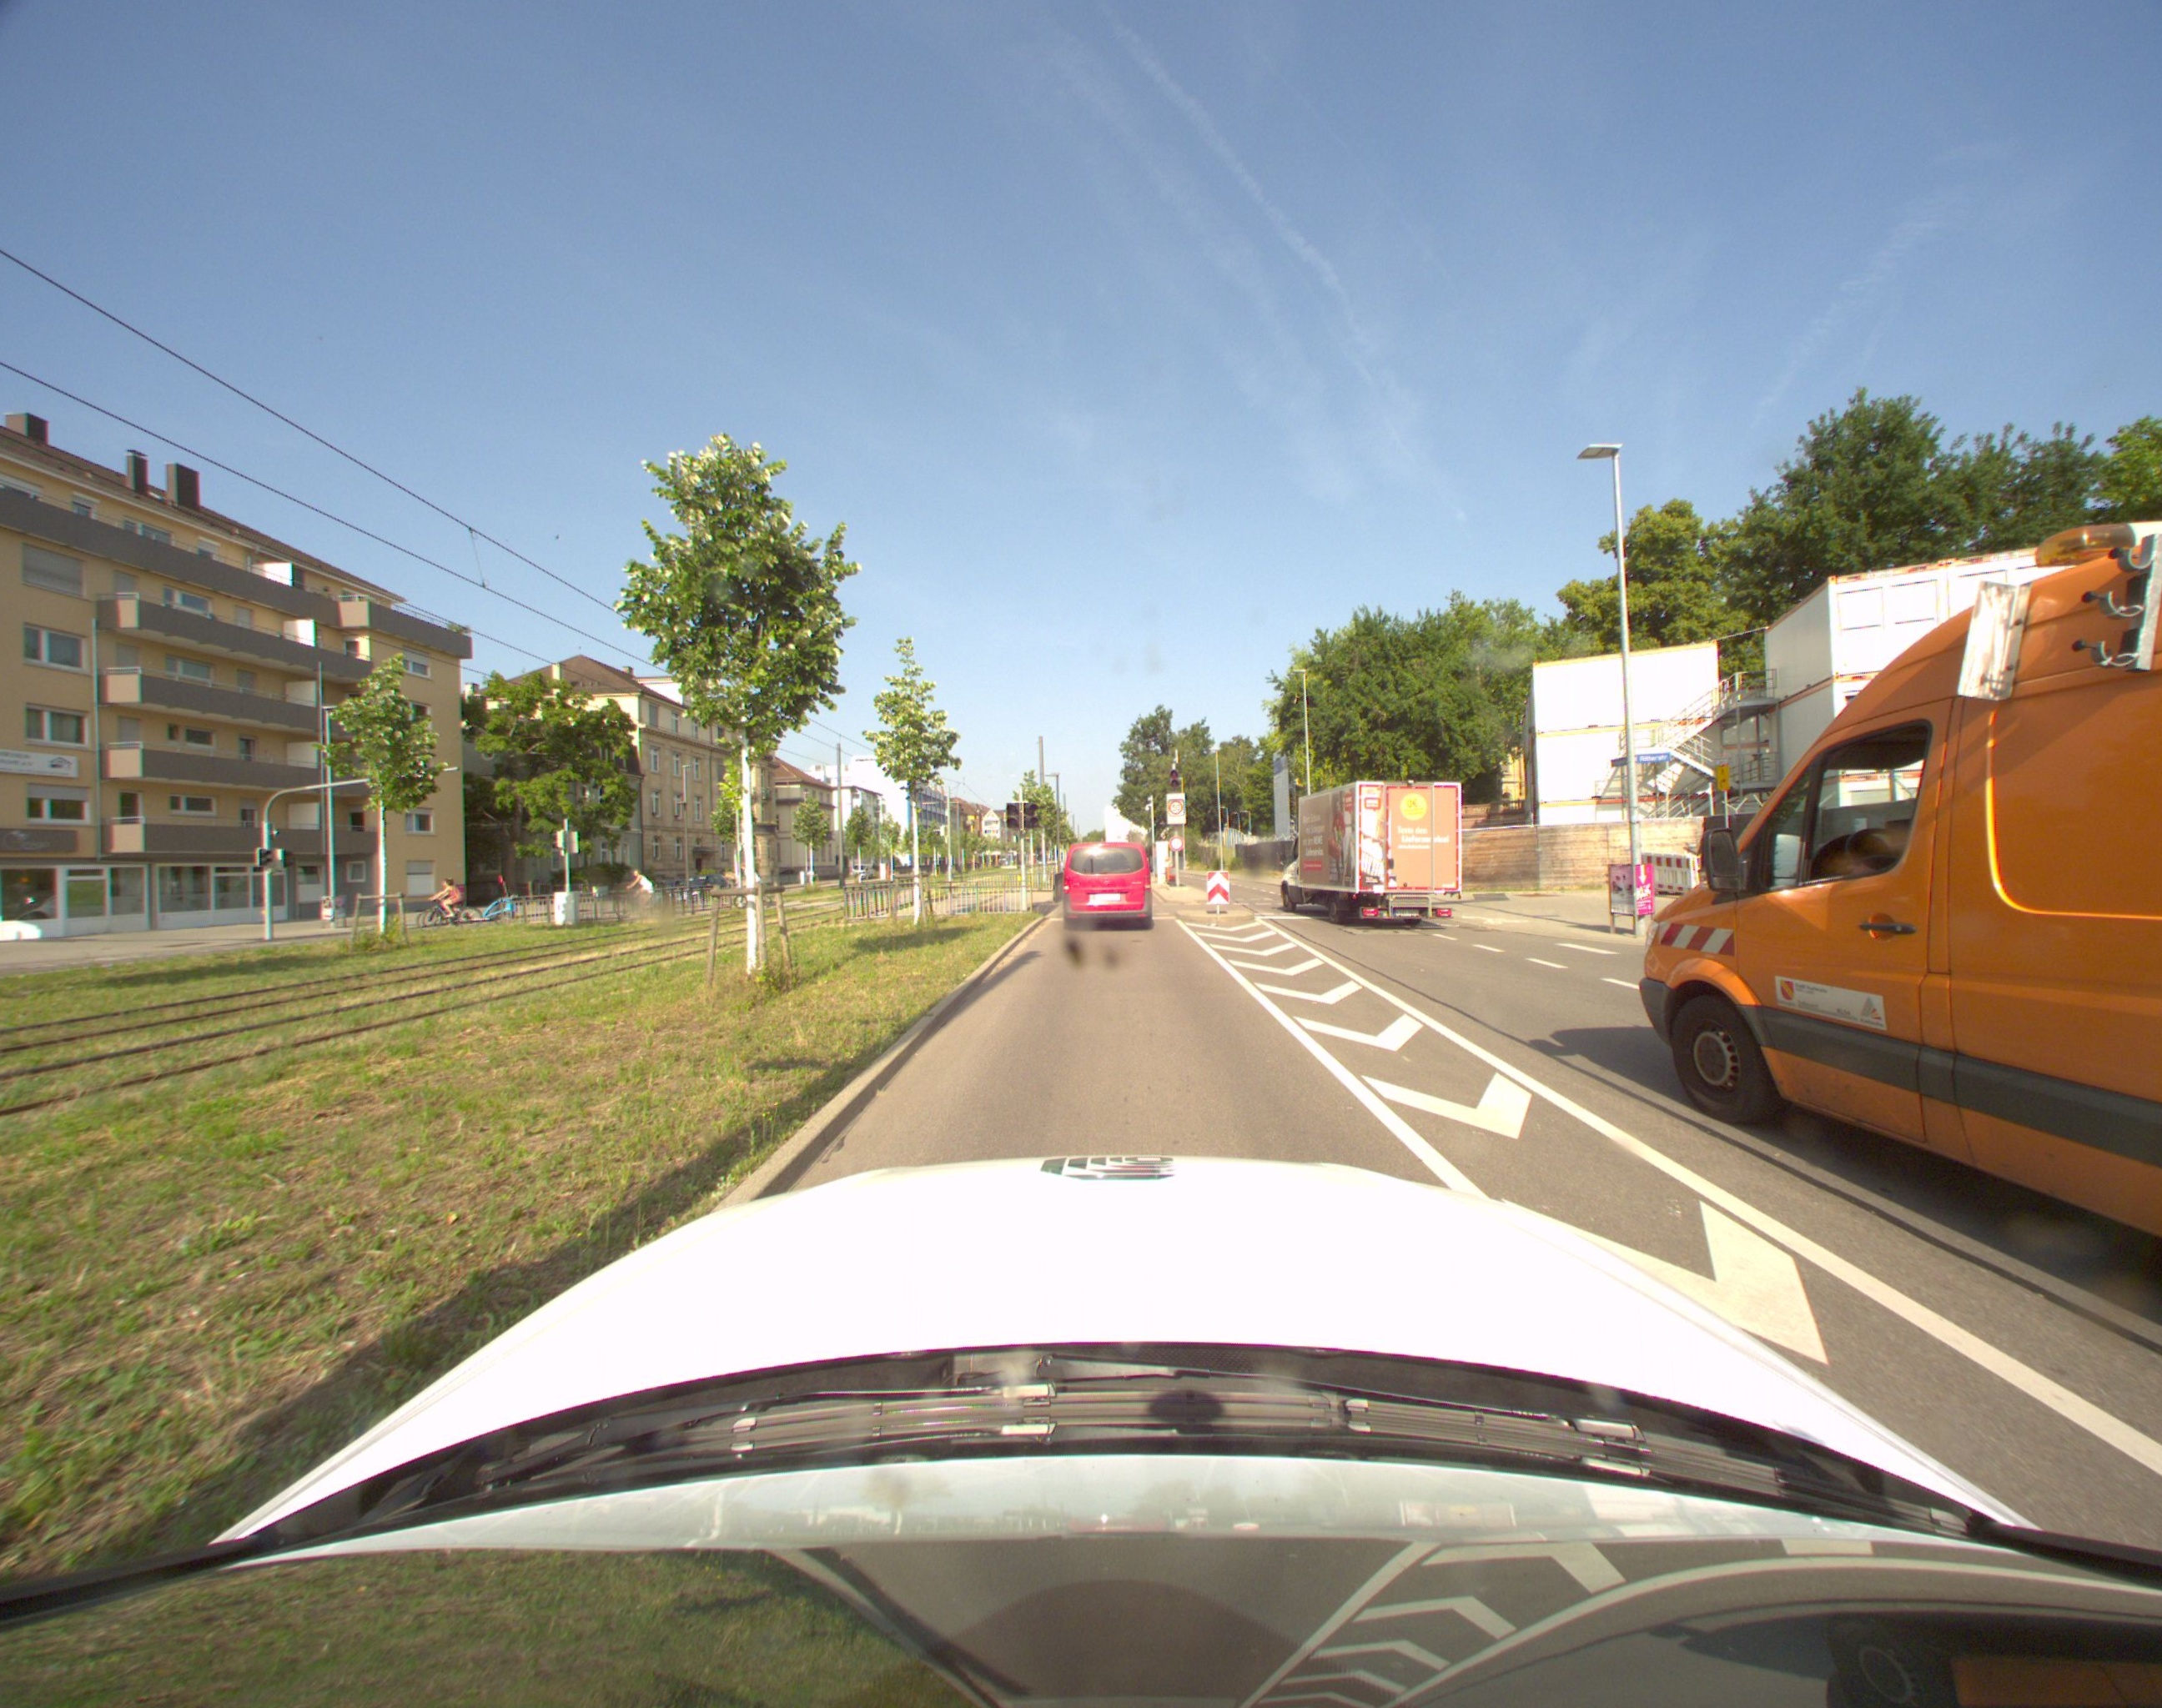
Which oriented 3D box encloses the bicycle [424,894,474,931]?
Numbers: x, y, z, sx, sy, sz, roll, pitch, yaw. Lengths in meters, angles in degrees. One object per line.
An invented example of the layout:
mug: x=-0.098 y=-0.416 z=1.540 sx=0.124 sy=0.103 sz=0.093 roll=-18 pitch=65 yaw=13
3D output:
bicycle: x=-25.625 y=2.360 z=33.039 sx=0.693 sy=1.346 sz=1.755 roll=-2 pitch=-1 yaw=-4

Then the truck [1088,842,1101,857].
truck: x=3.463 y=-1.045 z=211.798 sx=3.380 sy=3.726 sz=10.450 roll=-2 pitch=-1 yaw=0

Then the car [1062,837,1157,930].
car: x=0.642 y=0.610 z=18.339 sx=1.894 sy=1.859 sz=4.002 roll=0 pitch=0 yaw=2

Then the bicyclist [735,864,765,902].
bicyclist: x=-12.768 y=1.101 z=31.436 sx=0.679 sy=1.440 sz=0.811 roll=0 pitch=-1 yaw=29

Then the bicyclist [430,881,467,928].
bicyclist: x=-25.629 y=2.023 z=32.998 sx=0.667 sy=1.805 sz=1.082 roll=-2 pitch=-1 yaw=-4

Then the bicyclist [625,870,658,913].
bicyclist: x=-16.106 y=1.354 z=29.844 sx=0.988 sy=1.500 sz=0.615 roll=-2 pitch=-1 yaw=-27

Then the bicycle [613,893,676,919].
bicycle: x=-16.001 y=1.895 z=29.888 sx=2.007 sy=0.793 sz=0.623 roll=-2 pitch=0 yaw=-27

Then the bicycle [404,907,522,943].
bicycle: x=-20.579 y=2.353 z=27.212 sx=2.999 sy=0.965 sz=0.894 roll=-2 pitch=-1 yaw=-22

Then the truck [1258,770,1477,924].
truck: x=6.541 y=-0.074 z=20.096 sx=2.495 sy=3.061 sz=7.814 roll=0 pitch=-1 yaw=-2

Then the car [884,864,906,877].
car: x=-25.304 y=2.225 z=110.743 sx=1.910 sy=1.813 sz=4.001 roll=0 pitch=-1 yaw=1

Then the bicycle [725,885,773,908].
bicycle: x=-12.781 y=1.622 z=31.423 sx=0.711 sy=0.798 sz=1.613 roll=0 pitch=-1 yaw=29

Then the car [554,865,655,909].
car: x=-23.997 y=1.593 z=41.289 sx=1.988 sy=2.014 sz=5.300 roll=-2 pitch=-1 yaw=-1

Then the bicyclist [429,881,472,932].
bicyclist: x=-20.962 y=1.725 z=27.082 sx=0.894 sy=1.628 sz=0.885 roll=-2 pitch=-1 yaw=-23

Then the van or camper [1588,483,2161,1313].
van or camper: x=4.207 y=0.118 z=2.447 sx=1.976 sy=2.472 sz=6.069 roll=-1 pitch=0 yaw=5

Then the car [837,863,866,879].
car: x=-29.776 y=2.264 z=105.810 sx=2.242 sy=2.014 sz=5.260 roll=0 pitch=-2 yaw=-1

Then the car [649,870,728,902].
car: x=-20.618 y=1.630 z=42.992 sx=1.988 sy=1.513 sz=4.396 roll=-2 pitch=-1 yaw=-1

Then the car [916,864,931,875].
car: x=-24.941 y=2.455 z=128.874 sx=1.514 sy=1.464 sz=3.823 roll=-2 pitch=1 yaw=-1
